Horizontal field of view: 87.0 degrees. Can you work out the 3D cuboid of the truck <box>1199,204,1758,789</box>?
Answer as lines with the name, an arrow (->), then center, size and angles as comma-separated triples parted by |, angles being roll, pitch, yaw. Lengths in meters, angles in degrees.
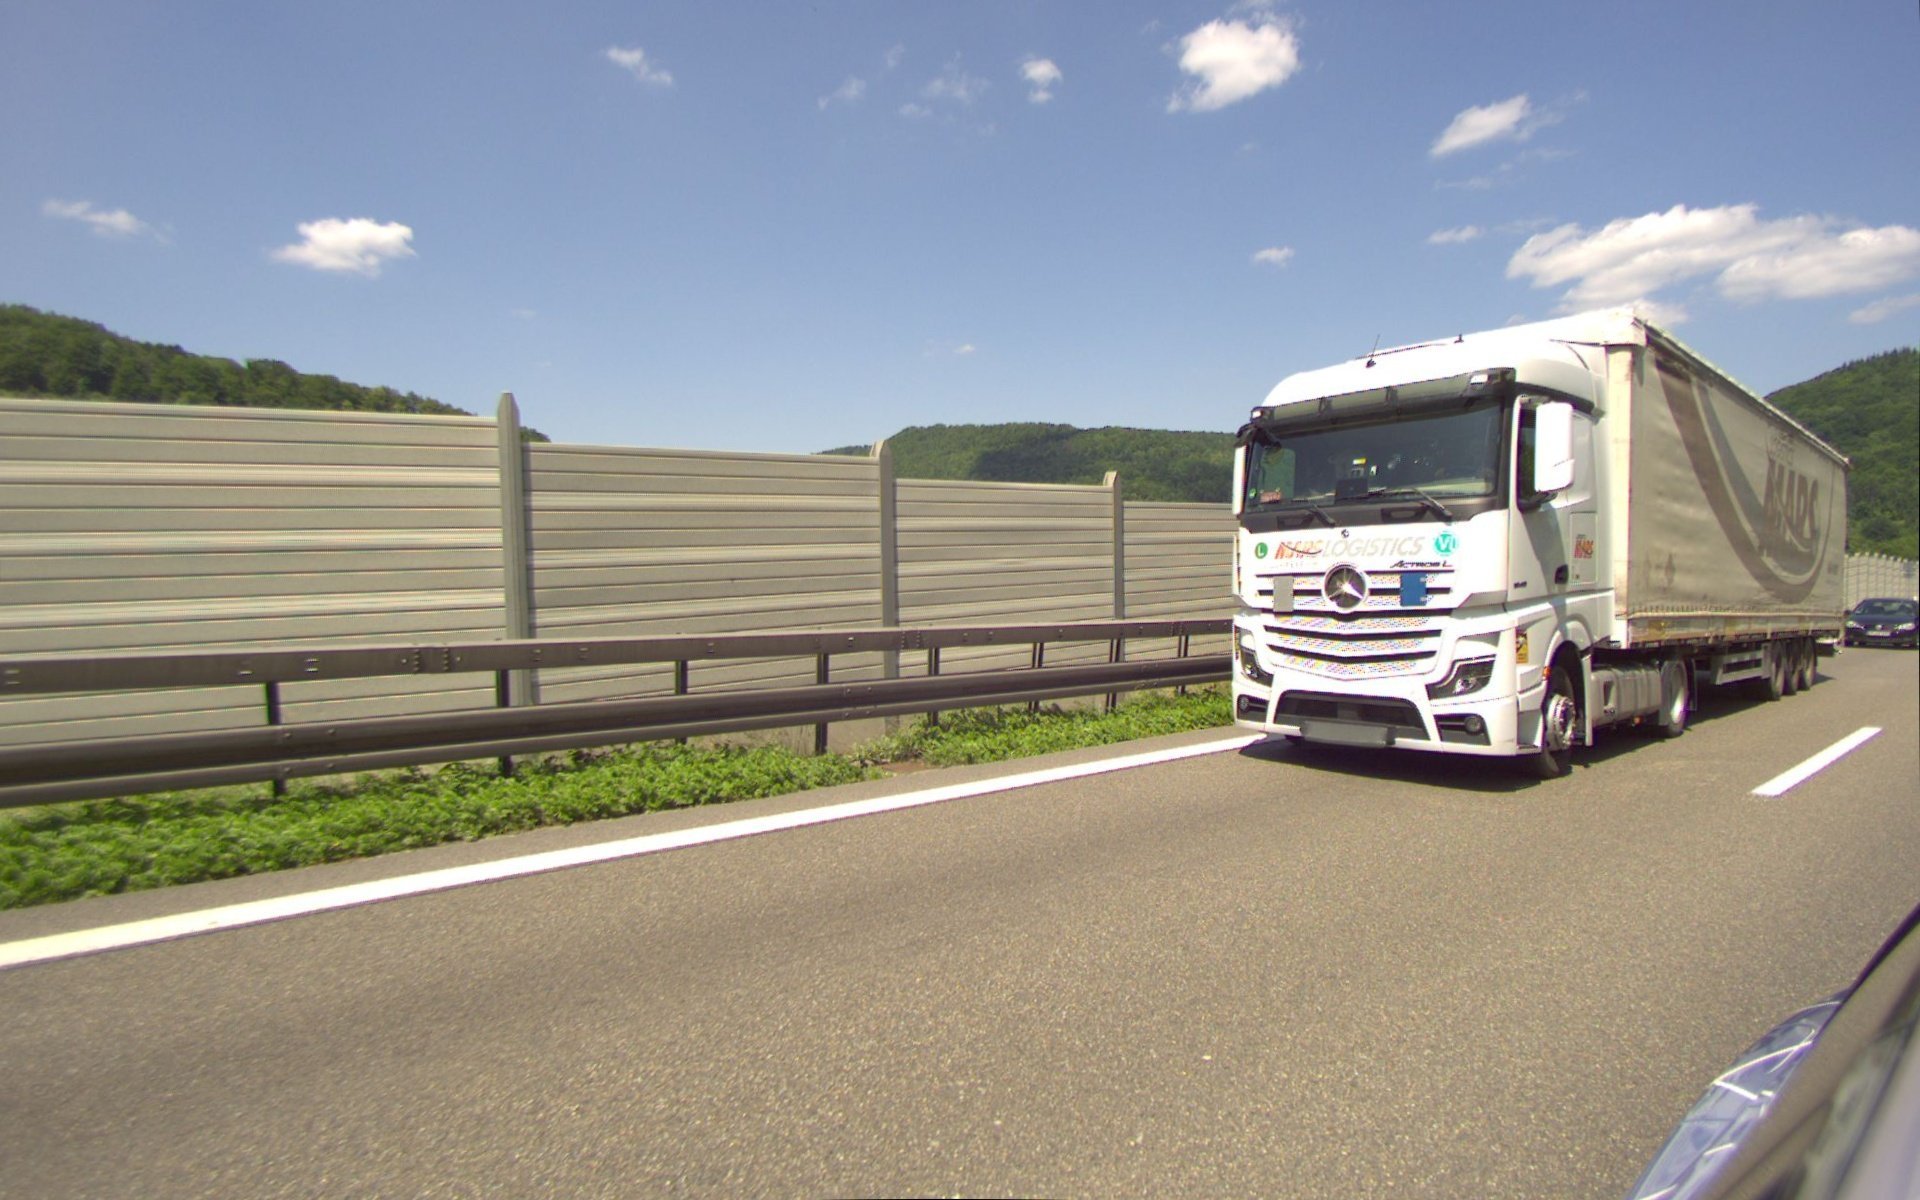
truck -> 5.609, -0.772, 10.340 | 6.704, 4.089, 2.762 | 0, 1, -41

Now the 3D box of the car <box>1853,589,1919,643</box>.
car -> 27.535, 0.431, 29.588 | 3.415, 1.430, 1.661 | -1, 3, -41

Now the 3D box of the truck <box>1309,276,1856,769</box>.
truck -> 9.134, -0.776, 13.626 | 11.838, 4.199, 2.859 | -1, 2, -41
